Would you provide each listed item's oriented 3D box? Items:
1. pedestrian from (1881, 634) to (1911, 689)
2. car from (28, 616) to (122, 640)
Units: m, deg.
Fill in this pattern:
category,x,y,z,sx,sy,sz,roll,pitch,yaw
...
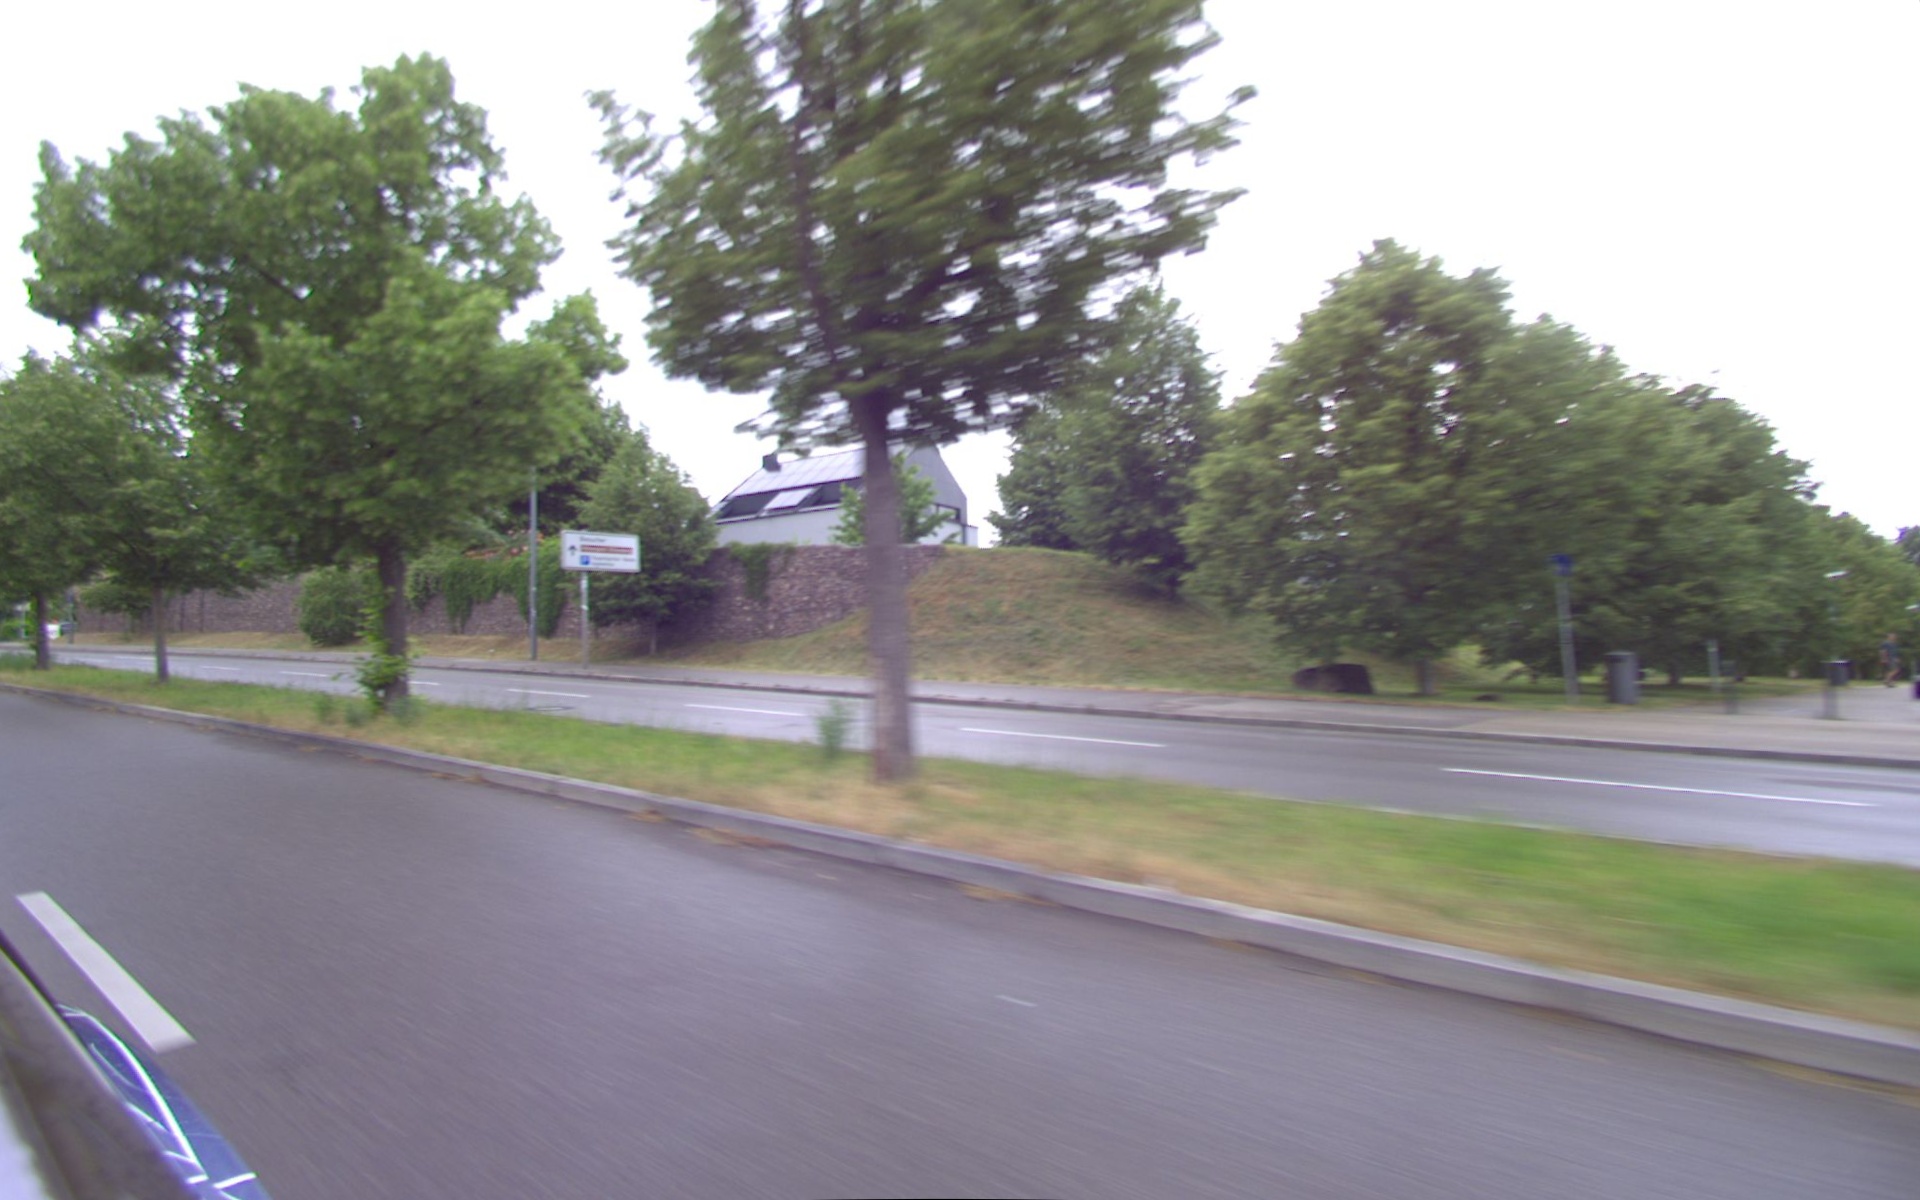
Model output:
category,x,y,z,sx,sy,sz,roll,pitch,yaw
pedestrian,30.732,2.009,33.230,0.744,1.741,0.648,1,-1,-41
car,-62.612,1.948,71.695,1.878,1.607,4.722,-1,0,27
